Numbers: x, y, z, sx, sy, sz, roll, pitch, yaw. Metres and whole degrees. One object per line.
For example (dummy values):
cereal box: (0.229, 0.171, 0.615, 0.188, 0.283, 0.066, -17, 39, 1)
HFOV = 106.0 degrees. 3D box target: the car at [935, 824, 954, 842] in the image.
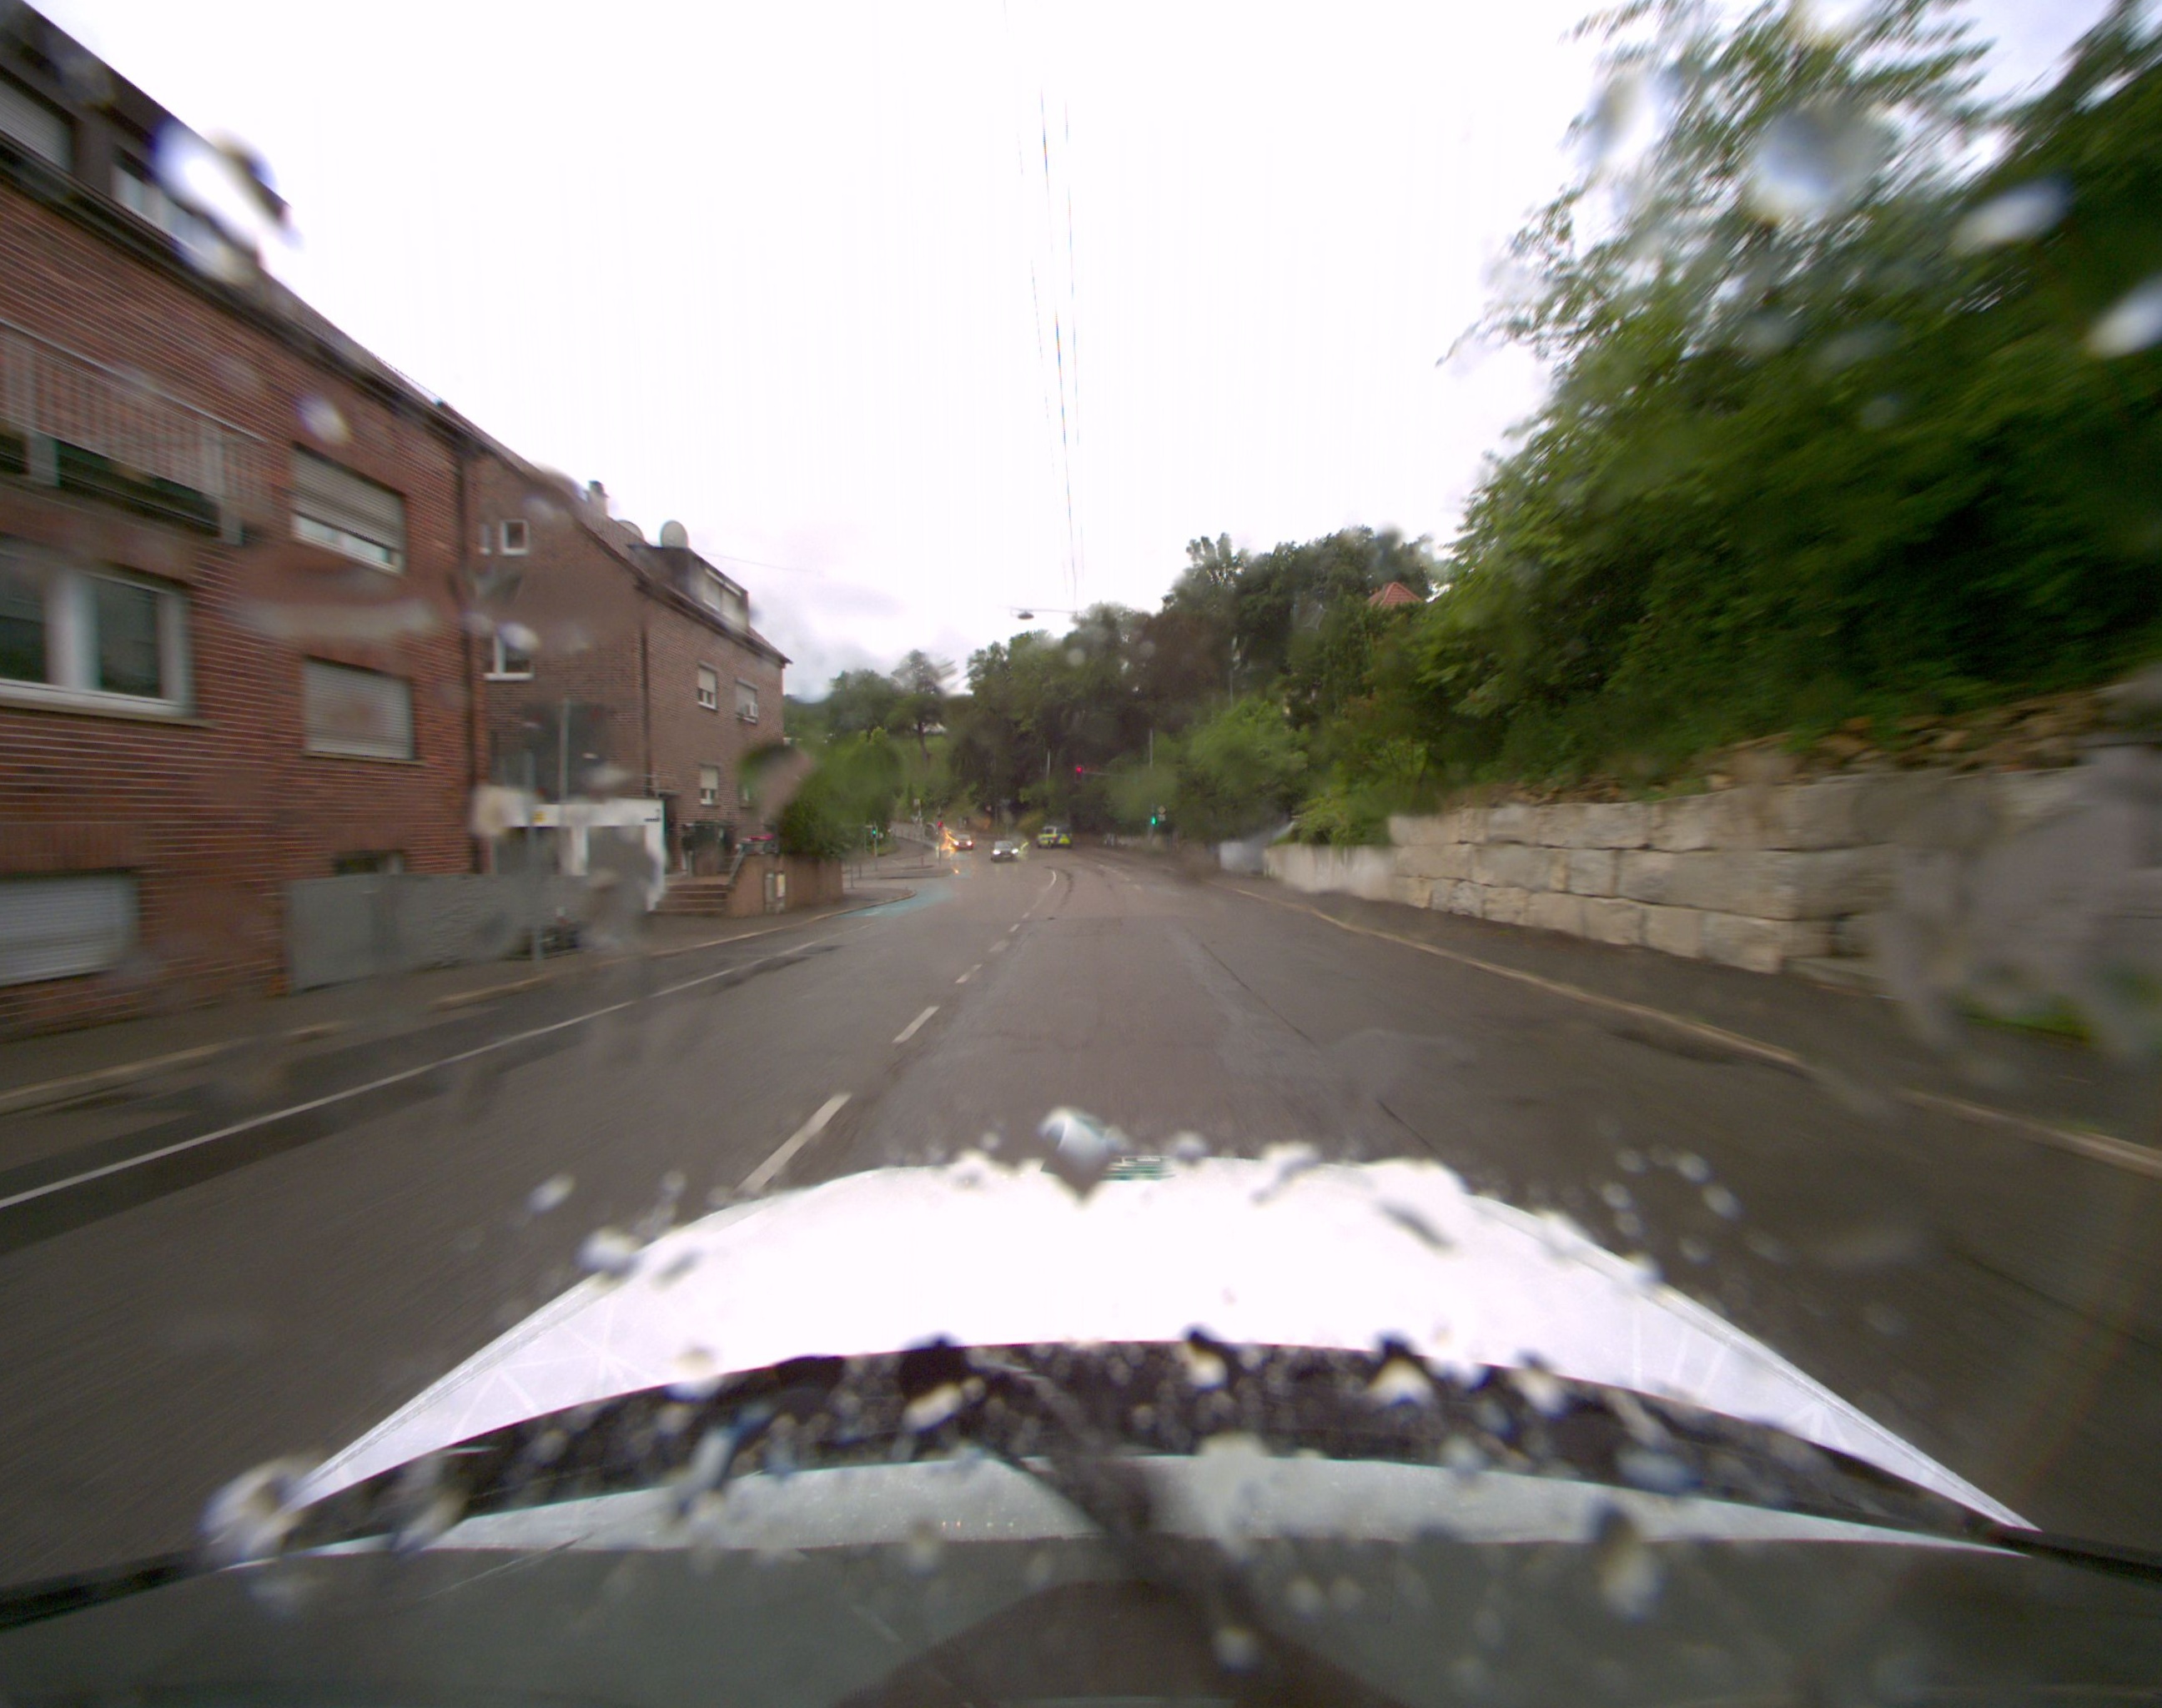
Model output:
car: (-14.923, -2.338, 88.864, 1.743, 1.549, 3.984, -4, 7, -13)

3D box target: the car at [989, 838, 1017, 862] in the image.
car: (-5.756, -0.323, 59.857, 1.740, 1.550, 3.990, -4, 3, -8)

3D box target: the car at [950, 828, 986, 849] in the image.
car: (-10.480, -1.440, 75.754, 1.728, 1.549, 4.018, -3, 4, 15)

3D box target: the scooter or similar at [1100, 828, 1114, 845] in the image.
scooter or similar: (2.263, -1.561, 72.052, 0.617, 1.421, 2.150, -4, 5, -14)

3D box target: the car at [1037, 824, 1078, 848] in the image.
car: (-2.149, -1.637, 73.322, 2.317, 1.939, 4.295, -5, 4, -21)
